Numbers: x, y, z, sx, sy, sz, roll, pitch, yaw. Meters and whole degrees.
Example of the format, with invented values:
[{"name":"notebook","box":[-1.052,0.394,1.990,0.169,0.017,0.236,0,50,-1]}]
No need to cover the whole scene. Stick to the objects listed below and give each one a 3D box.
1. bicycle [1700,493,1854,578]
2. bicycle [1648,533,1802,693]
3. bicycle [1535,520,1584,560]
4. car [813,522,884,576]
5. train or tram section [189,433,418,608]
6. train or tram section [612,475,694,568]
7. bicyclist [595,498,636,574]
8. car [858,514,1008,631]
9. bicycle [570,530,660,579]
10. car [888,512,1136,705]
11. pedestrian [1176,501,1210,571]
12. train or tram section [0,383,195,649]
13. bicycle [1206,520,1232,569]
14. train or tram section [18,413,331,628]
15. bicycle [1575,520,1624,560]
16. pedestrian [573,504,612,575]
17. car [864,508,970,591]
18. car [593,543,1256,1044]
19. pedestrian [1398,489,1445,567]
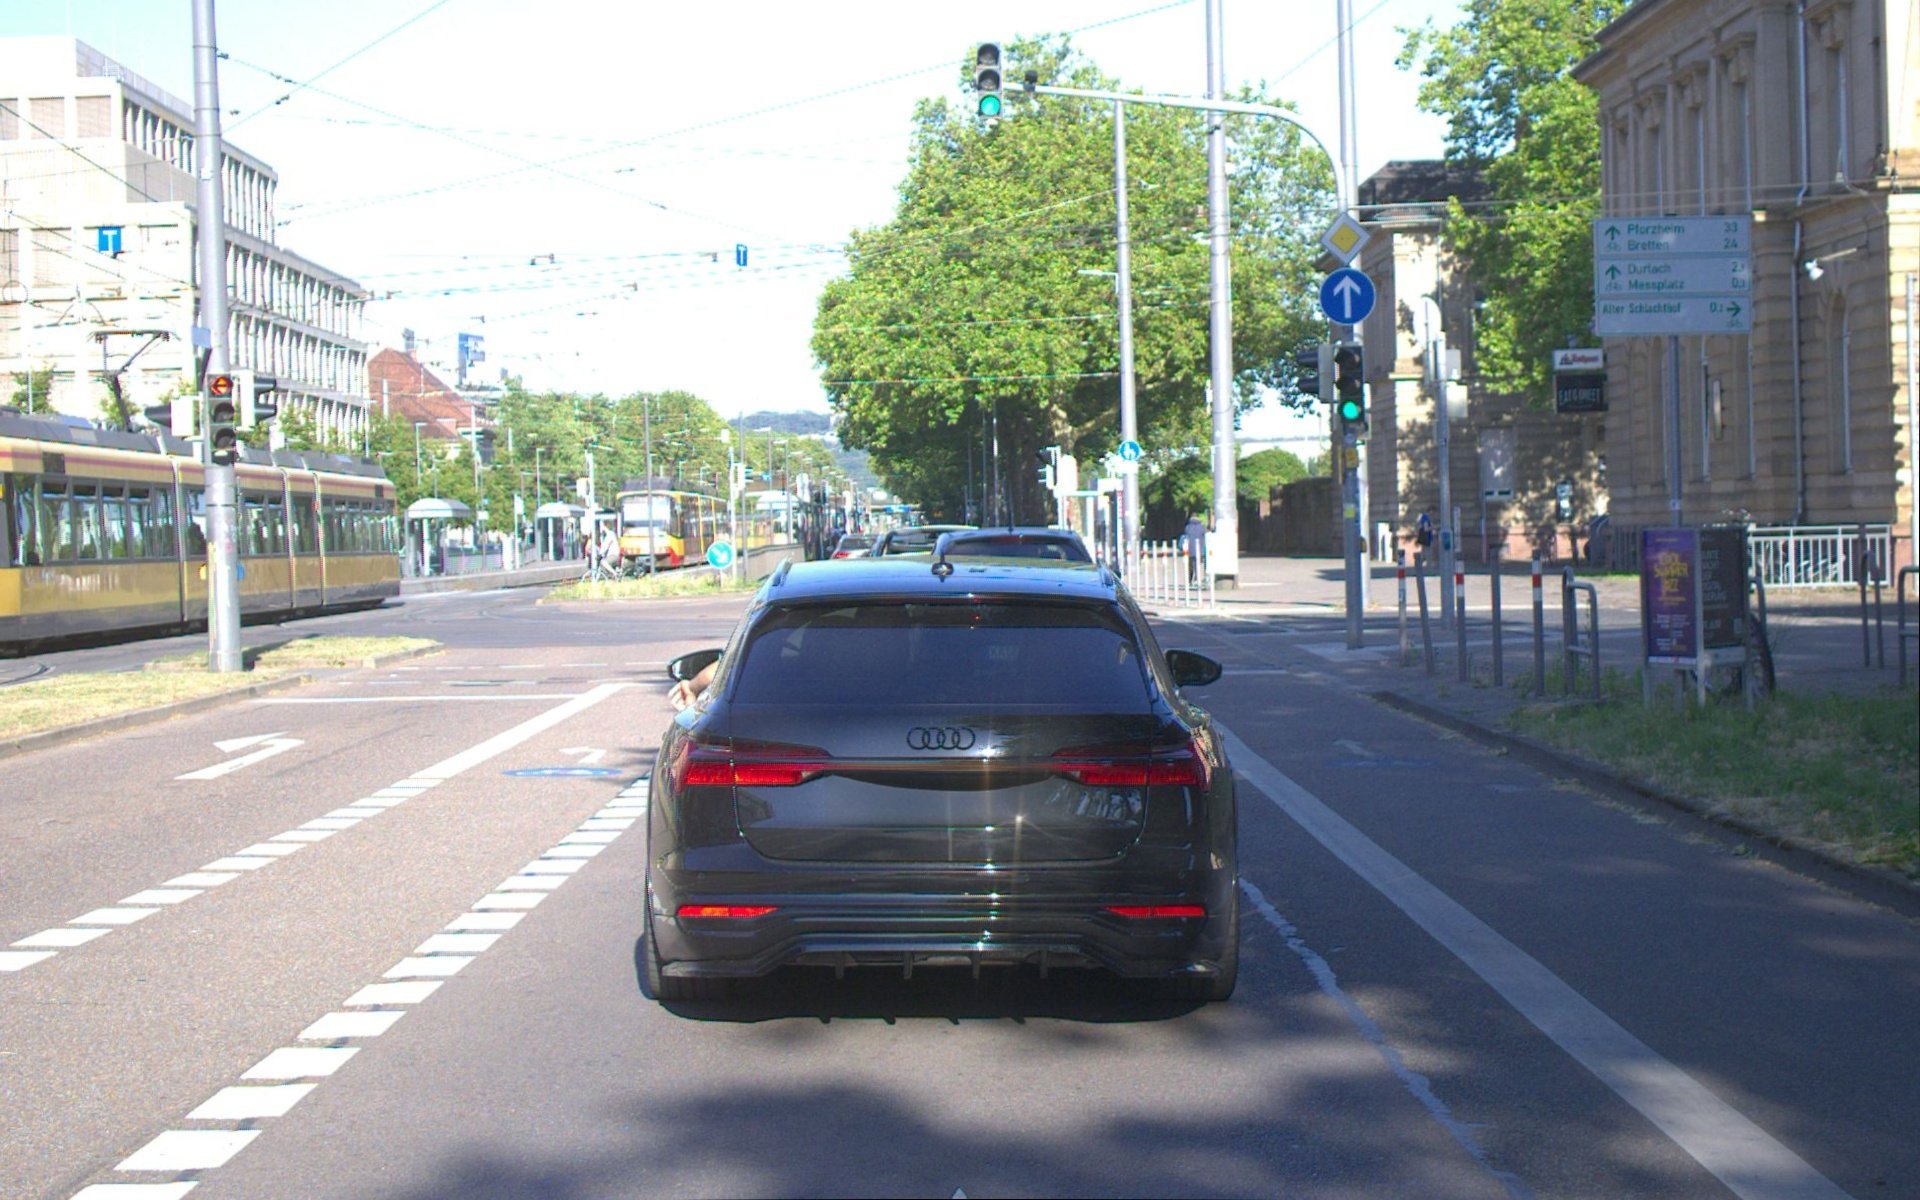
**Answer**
[{"name":"bicycle","box":[12.619,-1.000,53.117,2.136,1.205,0.765,-3,1,-2]},{"name":"bicycle","box":[5.352,0.071,24.130,0.540,1.058,1.772,-2,1,-4]},{"name":"bicycle","box":[16.009,-1.601,91.872,0.526,1.043,2.360,-2,1,-9]},{"name":"car","box":[-3.094,-1.436,96.074,1.902,1.481,4.145,1,1,-1]},{"name":"train or tram section","box":[-14.318,-1.757,76.073,2.813,3.477,12.155,-2,1,-1]},{"name":"train or tram section","box":[-12.059,-3.103,135.830,2.608,3.439,11.134,-2,1,-2]},{"name":"bicyclist","box":[-8.360,-1.563,83.410,0.756,1.812,0.765,-2,1,-20]},{"name":"car","box":[-0.357,-0.395,46.092,1.902,1.481,4.145,1,1,0]},{"name":"bicycle","box":[-8.362,-1.108,83.392,2.005,1.104,0.765,-2,1,-20]},{"name":"car","box":[0.393,0.024,28.683,1.902,1.481,4.145,1,1,0]},{"name":"pedestrian","box":[5.547,-1.529,82.001,0.682,1.655,0.758,-2,1,-2]},{"name":"train or tram section","box":[-14.005,-1.180,50.182,2.813,3.477,13.205,-2,1,-1]},{"name":"bicycle","box":[6.175,-1.335,82.031,0.434,1.141,1.340,-2,1,-2]},{"name":"train or tram section","box":[-14.181,-1.461,63.401,2.813,3.477,13.205,-2,1,-1]},{"name":"bicycle","box":[17.074,-1.602,91.858,0.526,1.043,2.360,-2,1,-9]},{"name":"pedestrian","box":[-9.047,-1.487,84.686,0.740,1.735,0.664,-2,1,-24]},{"name":"car","box":[-0.784,-0.959,64.272,1.902,1.481,4.145,1,1,0]},{"name":"car","box":[-0.115,0.525,12.010,1.902,1.417,4.145,1,1,0]},{"name":"pedestrian","box":[11.162,-1.736,83.184,0.979,1.859,0.827,-2,1,0]}]
